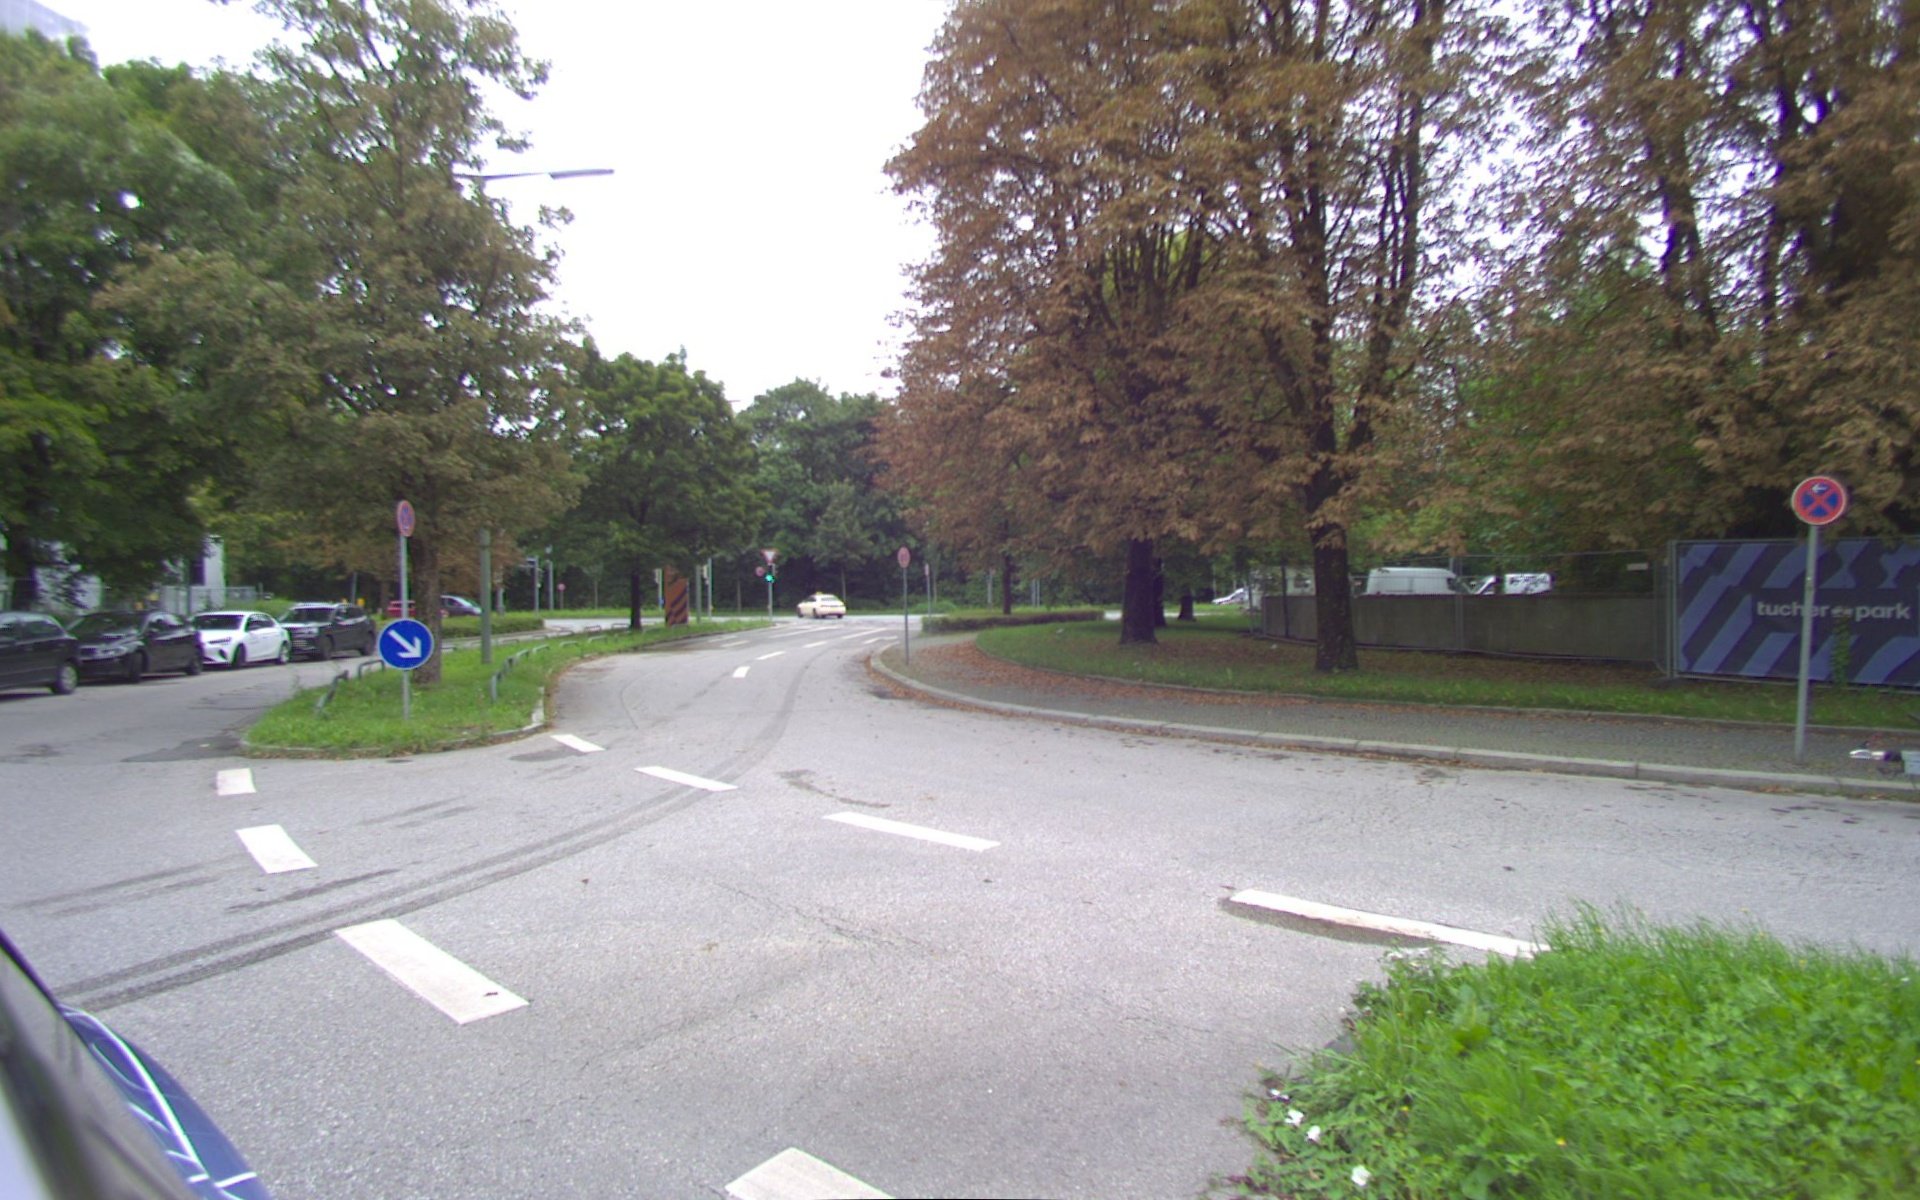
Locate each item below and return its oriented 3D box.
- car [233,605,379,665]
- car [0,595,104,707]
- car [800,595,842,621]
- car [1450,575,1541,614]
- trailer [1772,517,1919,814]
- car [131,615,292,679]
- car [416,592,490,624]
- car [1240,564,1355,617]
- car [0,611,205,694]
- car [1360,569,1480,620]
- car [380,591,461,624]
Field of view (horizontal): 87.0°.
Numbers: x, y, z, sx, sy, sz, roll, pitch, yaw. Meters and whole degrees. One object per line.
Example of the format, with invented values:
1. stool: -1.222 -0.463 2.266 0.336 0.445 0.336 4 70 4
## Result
1. car: -19.211 1.036 29.991 1.862 1.618 4.402 -1 -2 -6
2. car: -15.927 0.776 16.172 1.966 1.719 4.012 1 -1 -17
3. car: -8.765 0.515 63.535 1.861 1.557 4.868 0 0 -17
4. car: 36.778 -0.393 69.614 5.077 2.600 2.071 -1 0 9
5. trailer: 8.454 0.407 6.591 4.826 2.029 1.792 -1 0 37
6. car: -18.572 1.109 25.346 1.772 1.394 4.230 -1 0 -14
7. car: -33.738 0.518 67.416 3.946 2.029 1.999 -1 0 2
8. car: 18.044 -0.495 54.329 5.531 2.754 2.072 -1 0 8
9. car: -17.251 0.984 20.551 1.809 1.472 4.018 -1 0 -17
10. car: 24.347 -0.283 53.754 5.393 2.600 2.072 -1 0 8
11. car: -34.438 0.455 64.656 4.102 2.029 1.999 -1 0 2
